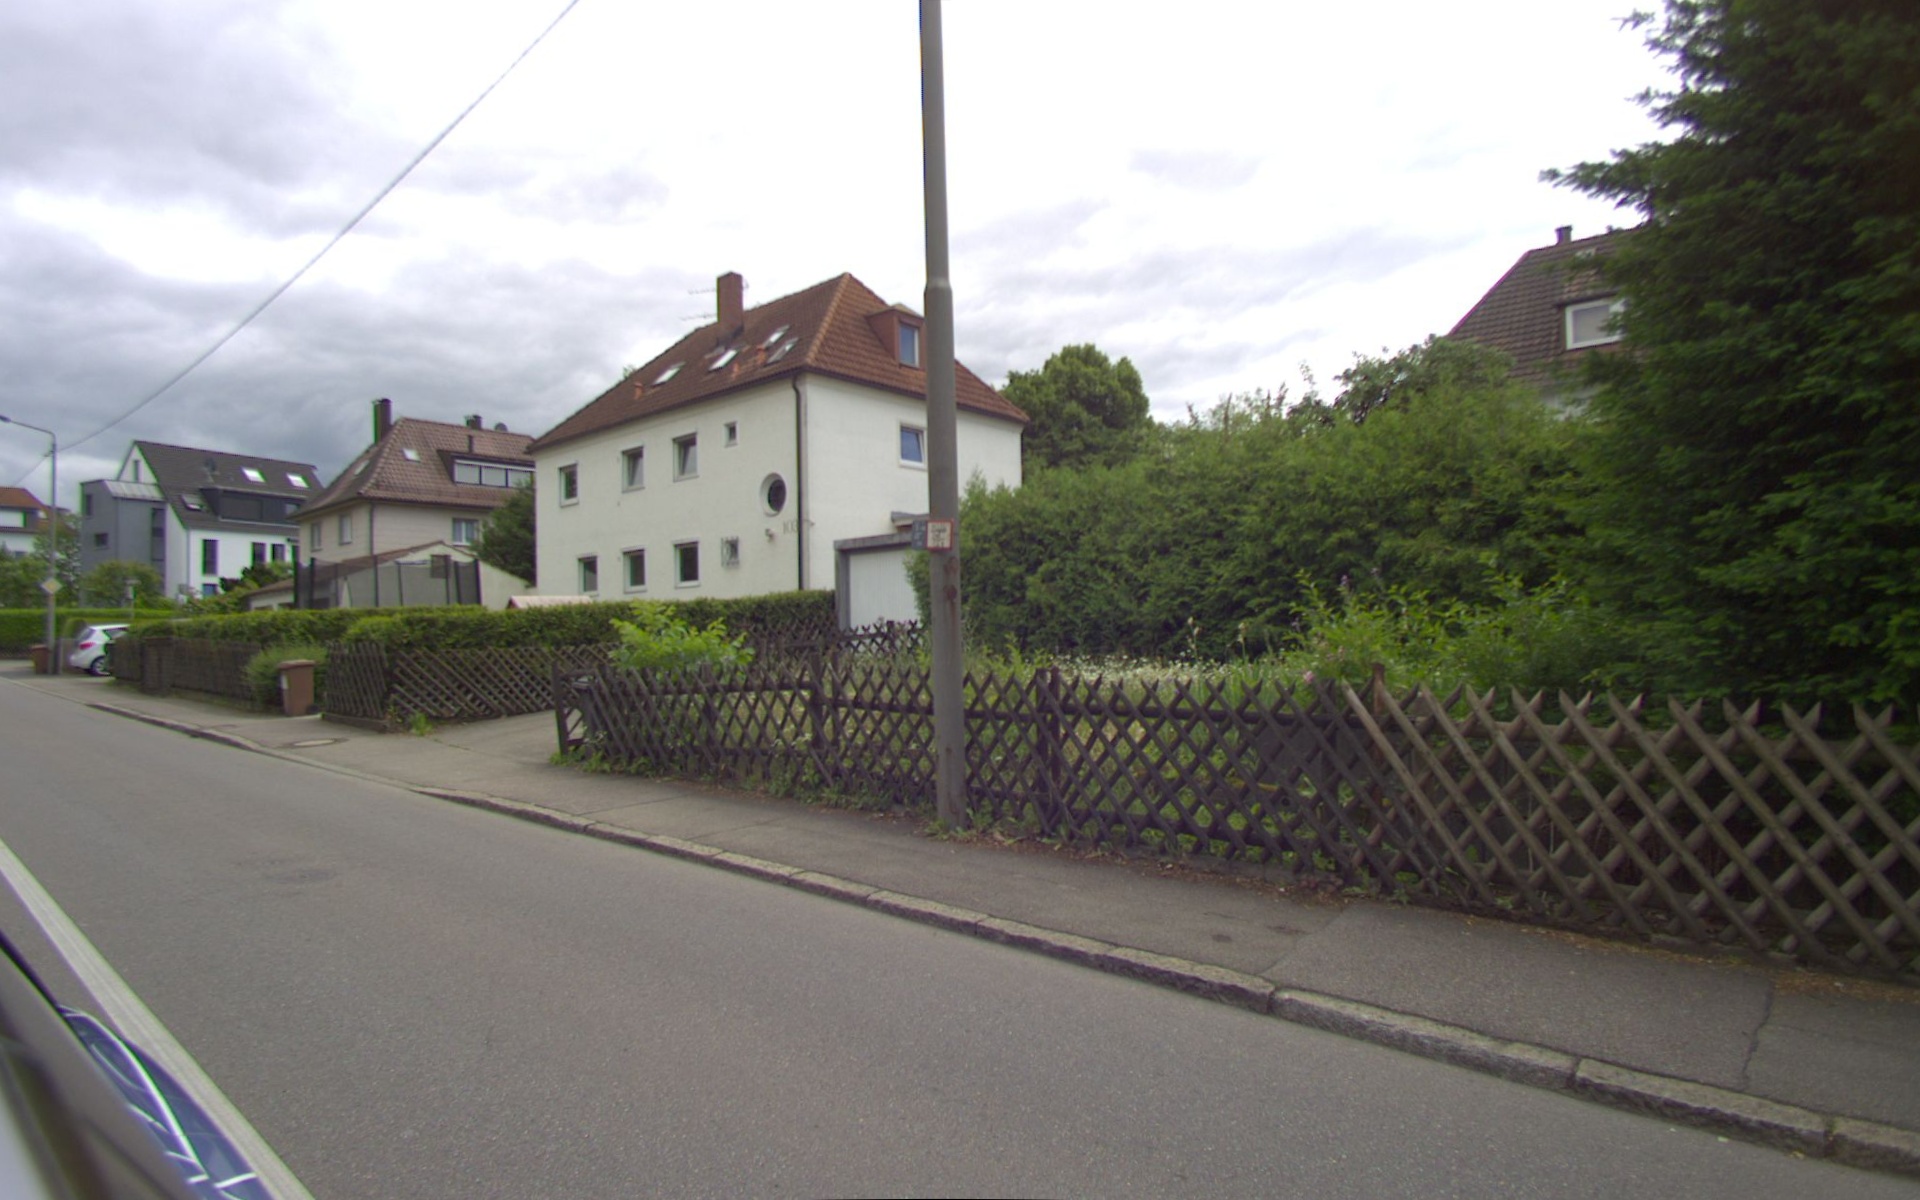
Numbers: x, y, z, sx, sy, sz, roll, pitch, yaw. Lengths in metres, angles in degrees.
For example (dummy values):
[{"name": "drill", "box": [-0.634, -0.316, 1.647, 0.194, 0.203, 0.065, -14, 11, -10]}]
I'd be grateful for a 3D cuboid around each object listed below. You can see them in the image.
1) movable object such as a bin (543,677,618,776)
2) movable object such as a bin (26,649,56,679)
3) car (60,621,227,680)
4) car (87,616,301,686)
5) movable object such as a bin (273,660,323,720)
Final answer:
[{"name": "movable object such as a bin", "box": [-3.909, 1.283, 10.429, 0.537, 0.945, 0.544, -2, -2, 43]}, {"name": "movable object such as a bin", "box": [-30.037, 2.078, 33.071, 0.680, 0.961, 0.572, 1, -2, -45]}, {"name": "car", "box": [-26.325, 1.582, 32.732, 1.717, 1.606, 3.946, -2, 1, 41]}, {"name": "car", "box": [-22.078, 1.398, 29.334, 1.881, 1.682, 4.624, -2, 1, 39]}, {"name": "movable object such as a bin", "box": [-10.951, 1.471, 16.736, 0.625, 0.920, 0.561, -1, -1, -39]}]
